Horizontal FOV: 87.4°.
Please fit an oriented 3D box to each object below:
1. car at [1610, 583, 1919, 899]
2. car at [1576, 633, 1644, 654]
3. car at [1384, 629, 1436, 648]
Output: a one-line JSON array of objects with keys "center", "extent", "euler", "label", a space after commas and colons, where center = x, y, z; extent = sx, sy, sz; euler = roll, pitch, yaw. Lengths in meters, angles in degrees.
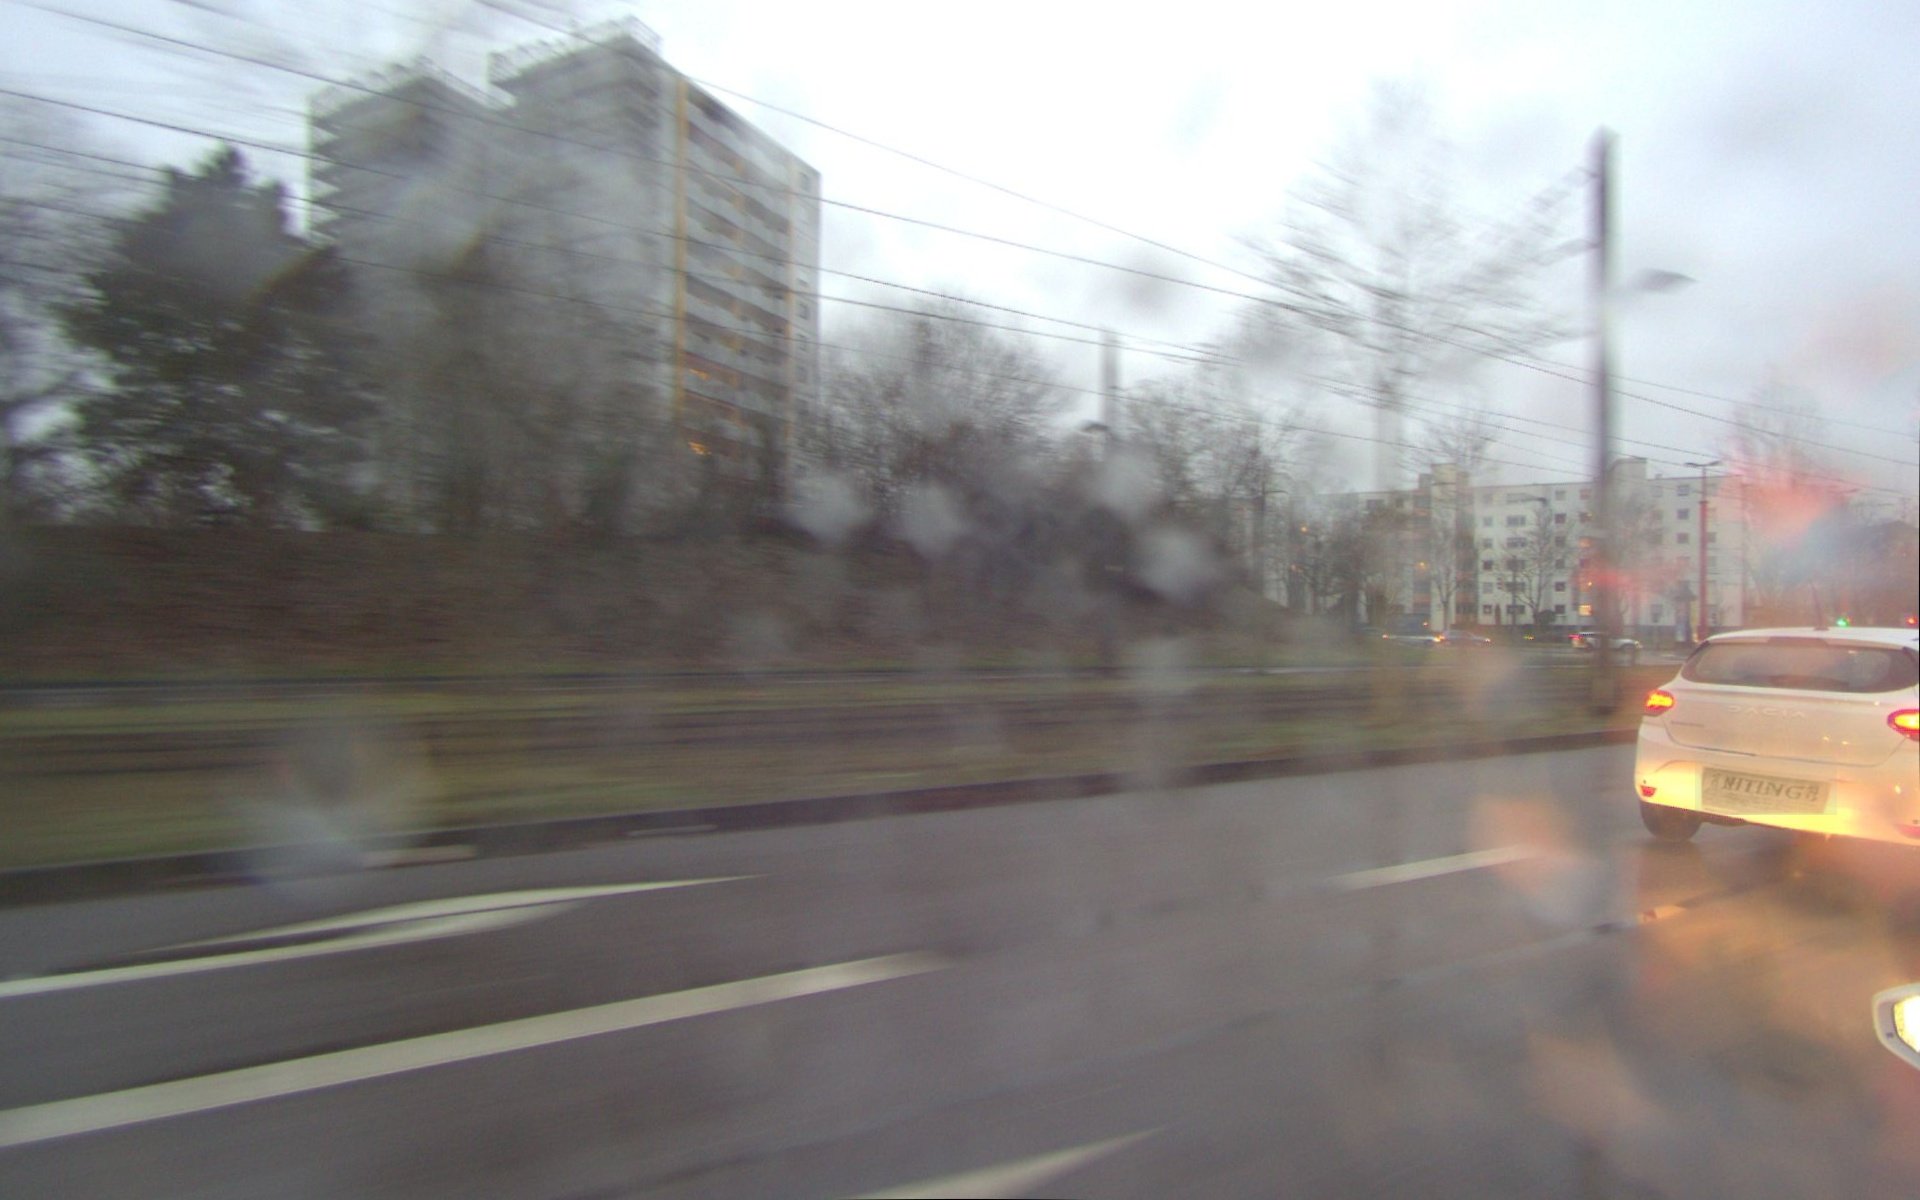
[{"center": [6.491, 0.799, 6.972], "extent": [4.099, 1.669, 1.705], "euler": [1, -1, -31], "label": "car"}, {"center": [49.792, 3.306, 77.022], "extent": [4.364, 1.565, 1.847], "euler": [-1, -2, 33], "label": "car"}, {"center": [39.040, 3.333, 87.185], "extent": [3.931, 1.565, 1.708], "euler": [-1, -2, 33], "label": "car"}]
